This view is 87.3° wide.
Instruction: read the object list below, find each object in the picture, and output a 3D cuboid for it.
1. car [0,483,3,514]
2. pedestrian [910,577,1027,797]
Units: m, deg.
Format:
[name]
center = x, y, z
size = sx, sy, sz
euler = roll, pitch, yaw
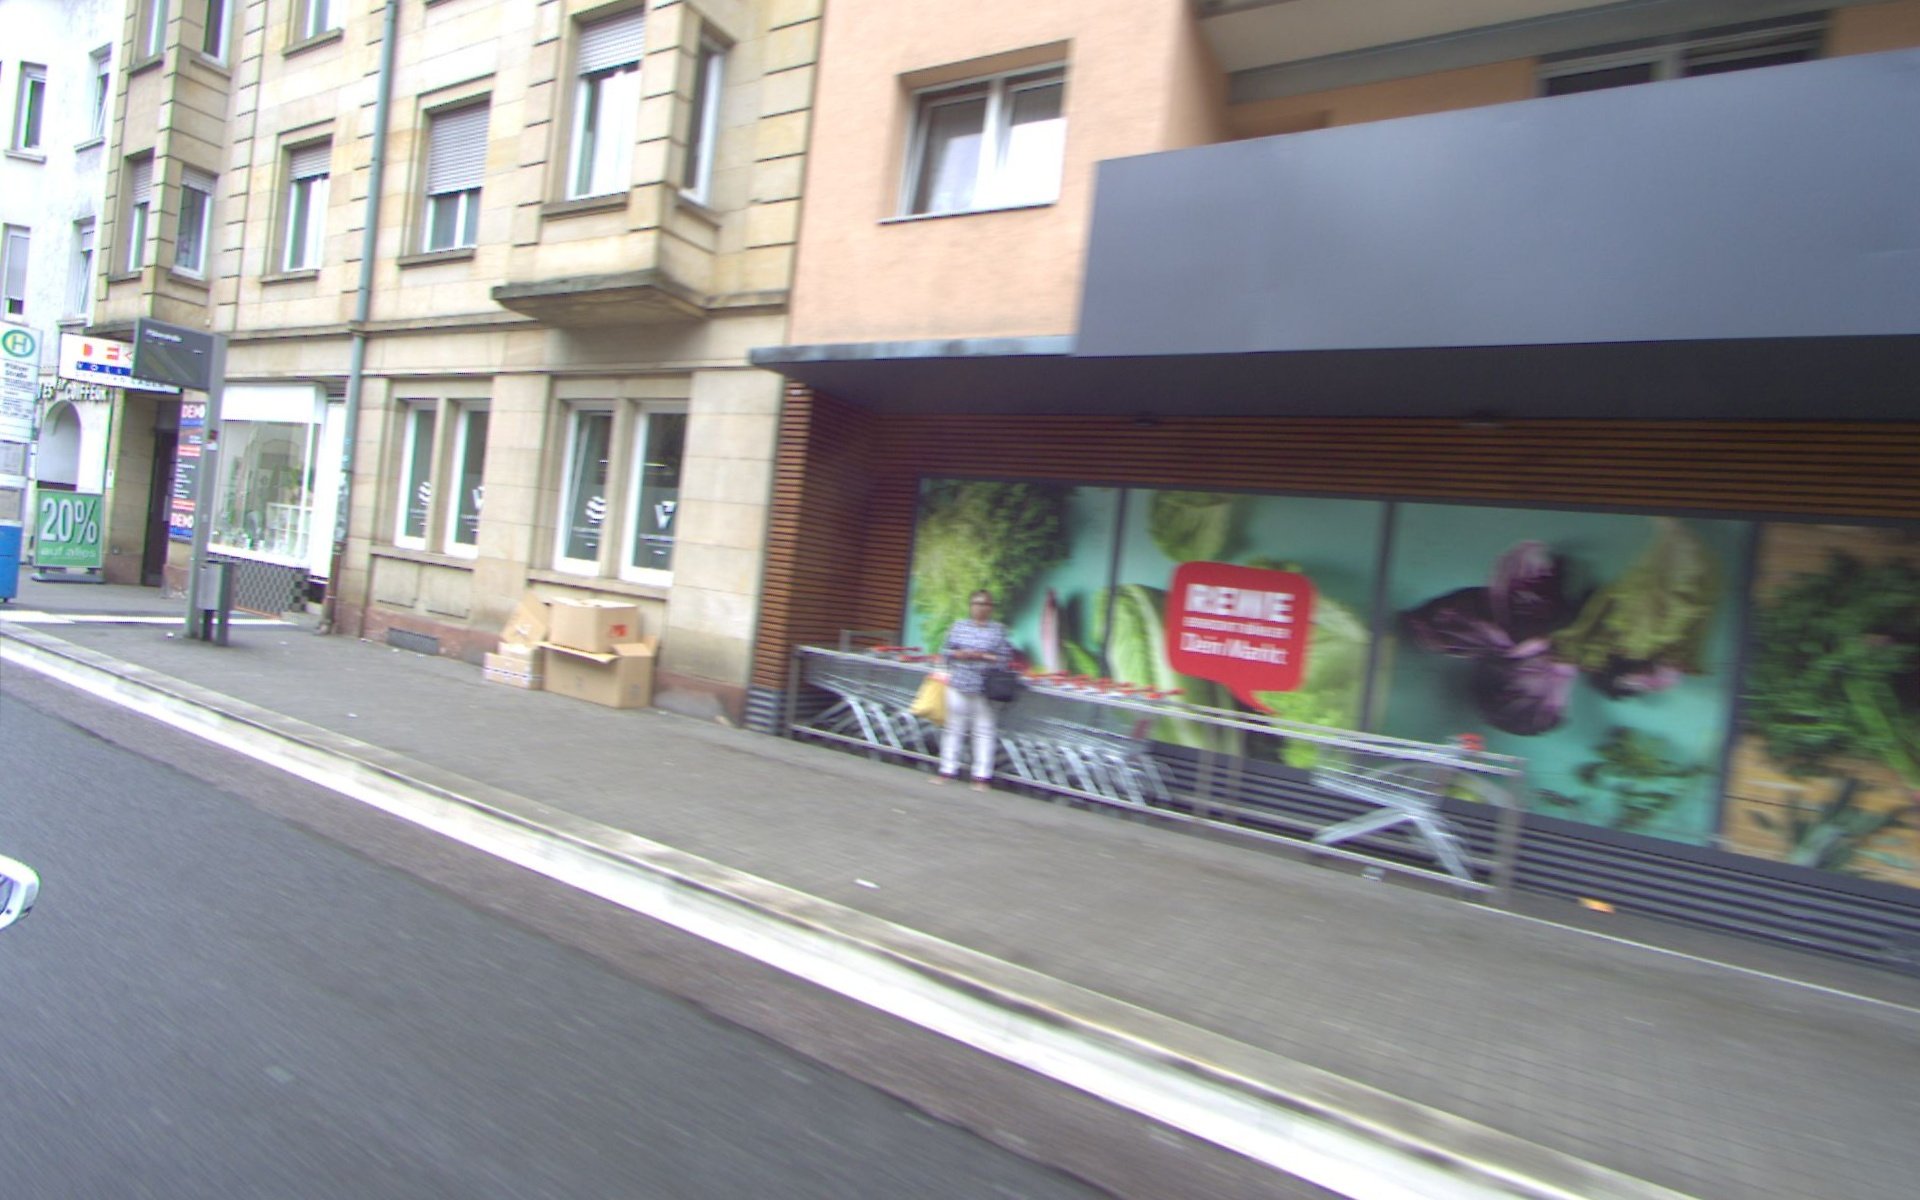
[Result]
[car]
center = -31.055, -2.910, 29.424
size = 1.845, 1.793, 4.137
euler = 7, -1, 38
[pedestrian]
center = 0.079, 0.664, 7.902
size = 0.615, 1.592, 0.563
euler = 7, 1, 15
